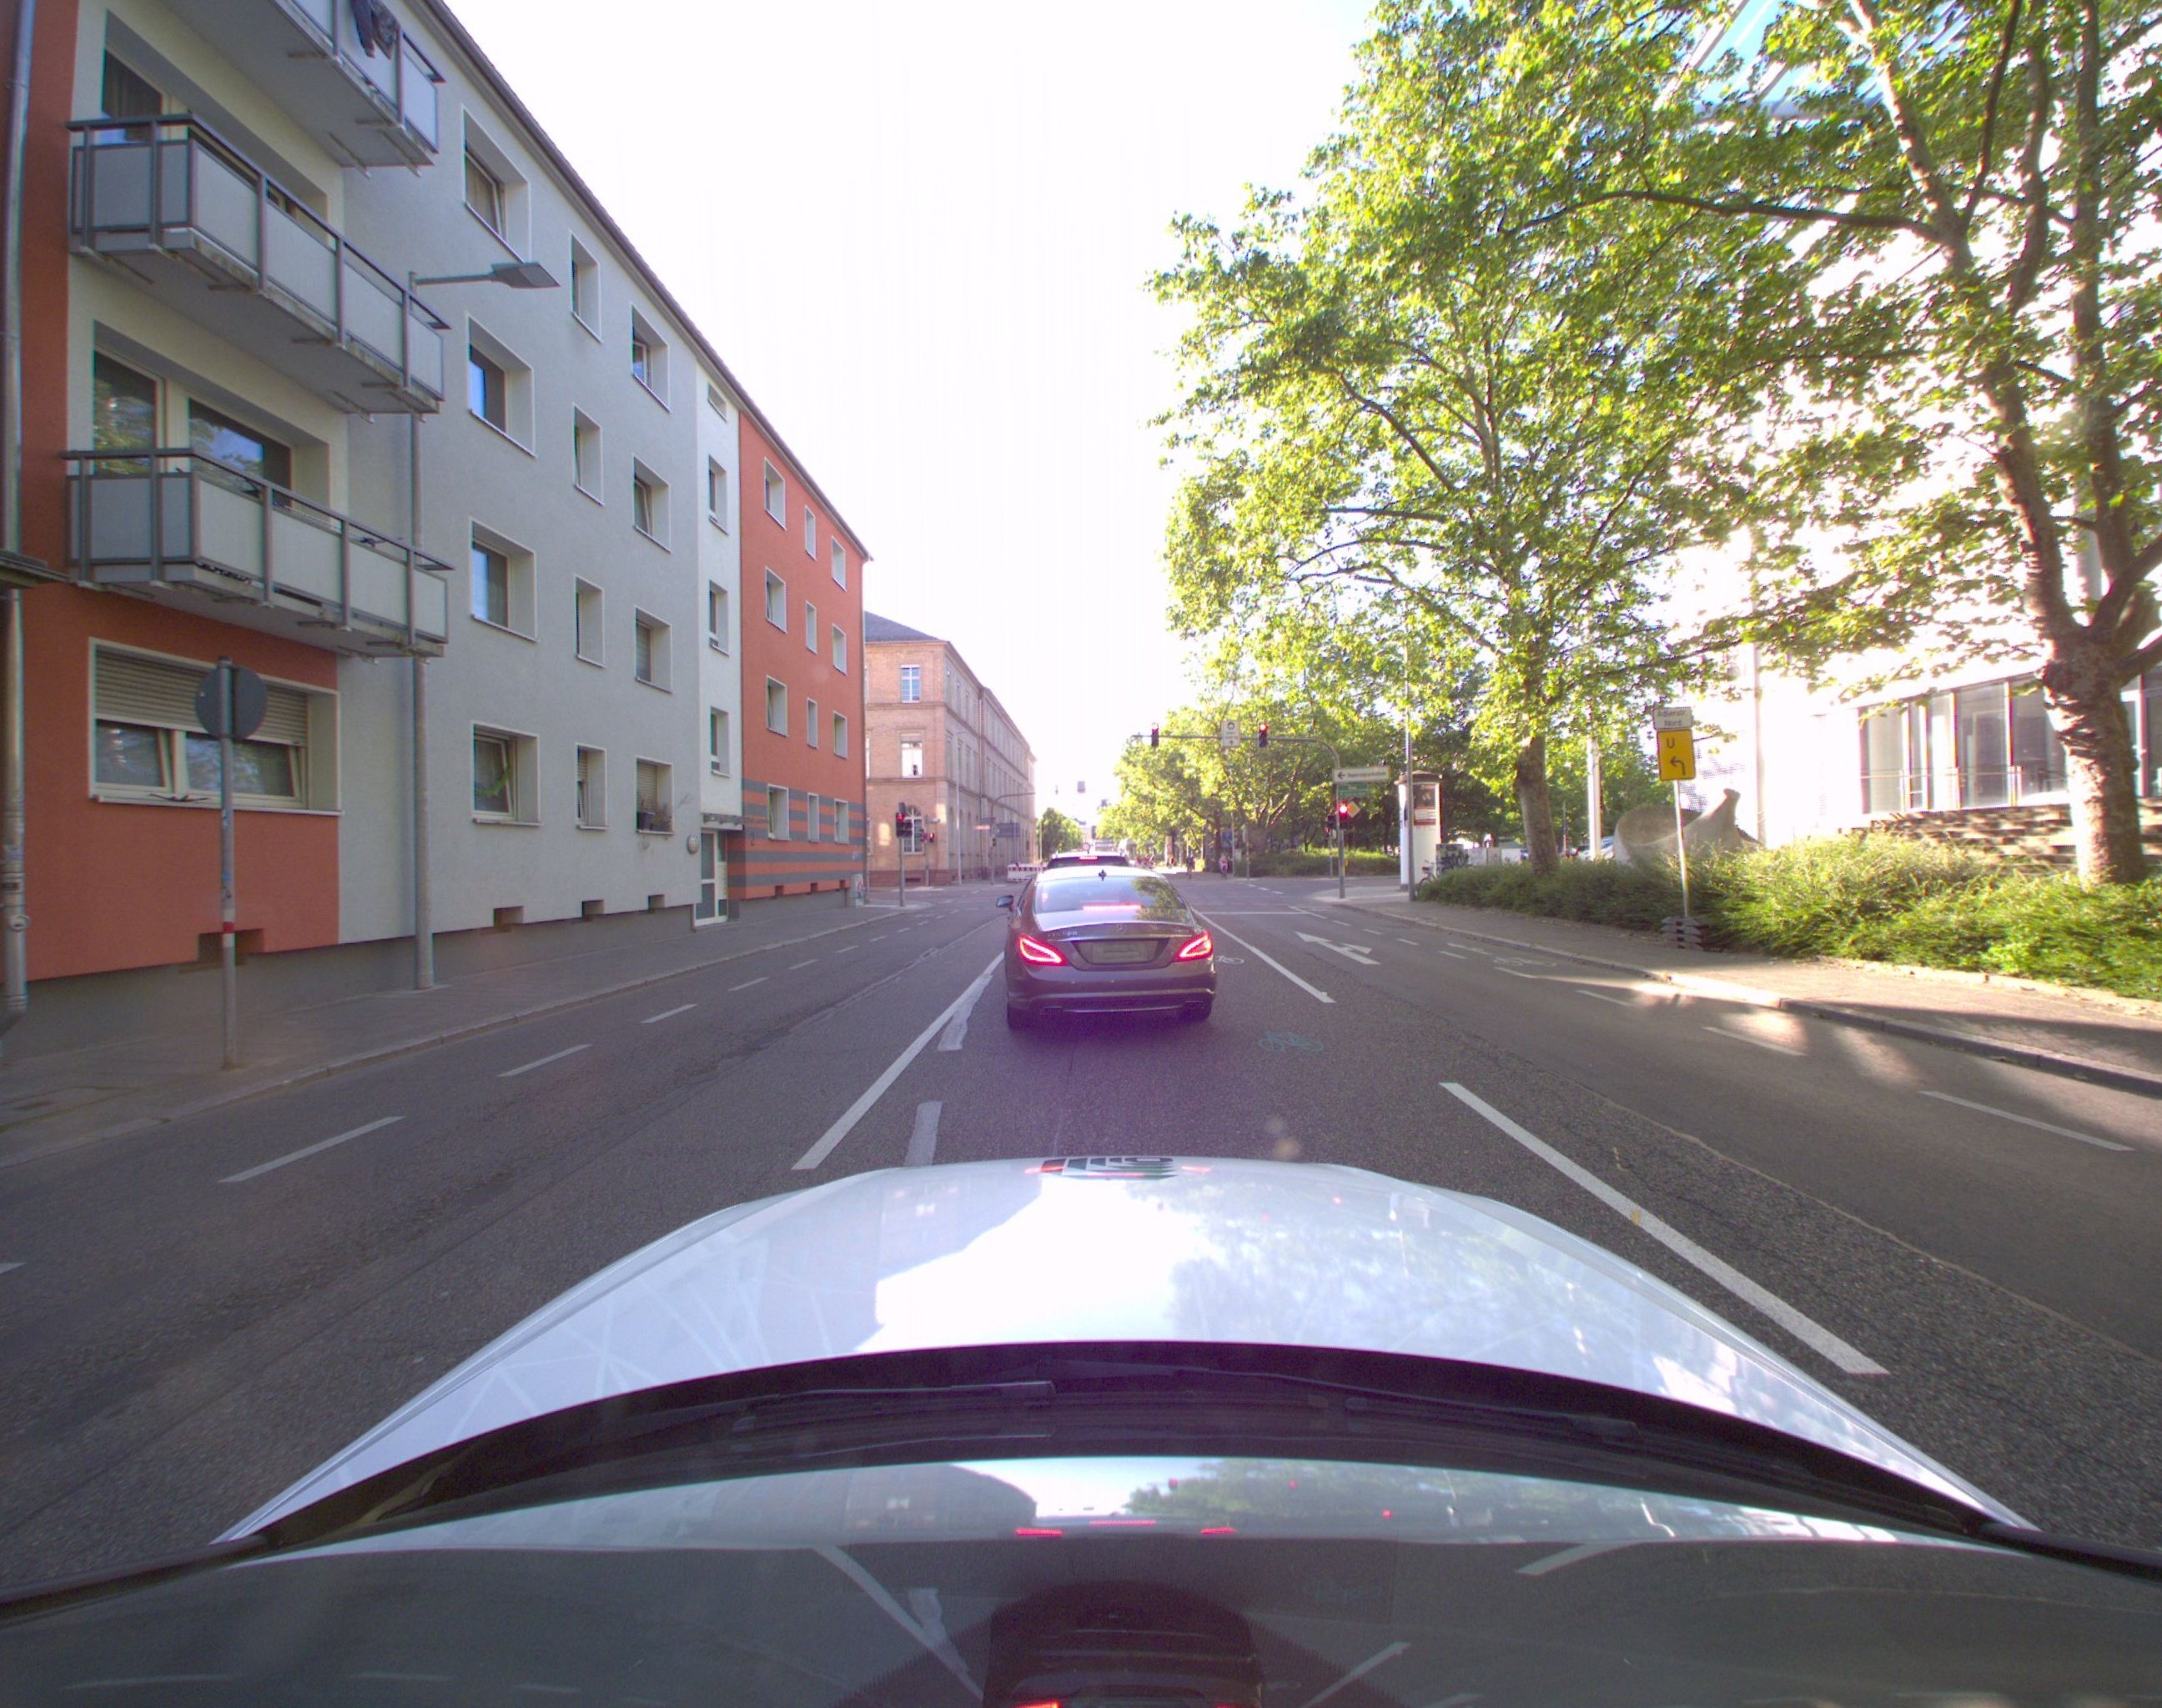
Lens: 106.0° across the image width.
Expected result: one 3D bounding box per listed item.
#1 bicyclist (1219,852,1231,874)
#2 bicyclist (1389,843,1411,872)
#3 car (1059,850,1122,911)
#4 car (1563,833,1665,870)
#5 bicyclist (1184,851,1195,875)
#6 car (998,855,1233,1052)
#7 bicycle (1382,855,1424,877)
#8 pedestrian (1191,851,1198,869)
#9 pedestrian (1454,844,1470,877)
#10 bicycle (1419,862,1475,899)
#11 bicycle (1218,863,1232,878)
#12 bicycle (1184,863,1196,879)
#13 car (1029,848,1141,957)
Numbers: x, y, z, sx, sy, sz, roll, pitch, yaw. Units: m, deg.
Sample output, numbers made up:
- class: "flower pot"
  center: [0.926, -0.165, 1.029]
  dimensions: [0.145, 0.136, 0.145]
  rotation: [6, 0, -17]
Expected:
- class: "bicyclist"
  center: [9.332, 0.603, 52.882]
  dimensions: [0.598, 1.402, 0.931]
  rotation: [1, 0, 1]
- class: "bicyclist"
  center: [17.794, 0.202, 45.426]
  dimensions: [0.813, 1.553, 0.883]
  rotation: [-1, 0, -8]
- class: "car"
  center: [0.274, 0.733, 24.101]
  dimensions: [1.676, 1.625, 3.841]
  rotation: [-1, 0, 0]
- class: "car"
  center: [27.653, -0.134, 42.358]
  dimensions: [3.976, 1.784, 2.004]
  rotation: [-1, 0, 6]
- class: "bicyclist"
  center: [7.065, 0.581, 53.024]
  dimensions: [0.608, 1.516, 0.890]
  rotation: [0, 0, 1]
- class: "car"
  center: [0.095, 0.777, 8.511]
  dimensions: [1.818, 1.476, 4.345]
  rotation: [-1, 0, -5]
- class: "bicycle"
  center: [17.951, 0.646, 45.452]
  dimensions: [1.996, 1.185, 0.883]
  rotation: [-1, 0, -8]
- class: "pedestrian"
  center: [10.984, 0.596, 78.667]
  dimensions: [0.557, 1.678, 0.565]
  rotation: [-1, 0, 1]
- class: "pedestrian"
  center: [20.880, 0.365, 44.624]
  dimensions: [0.617, 1.784, 0.631]
  rotation: [-1, 0, 4]
- class: "bicycle"
  center: [10.817, 0.777, 24.108]
  dimensions: [1.411, 1.037, 0.538]
  rotation: [-1, 0, -2]
- class: "bicycle"
  center: [9.327, 1.065, 52.859]
  dimensions: [0.598, 0.985, 1.882]
  rotation: [1, 0, 2]
- class: "bicycle"
  center: [7.062, 1.082, 52.904]
  dimensions: [0.608, 1.026, 1.732]
  rotation: [0, 0, 2]
- class: "car"
  center: [0.081, 0.746, 14.264]
  dimensions: [1.676, 1.625, 3.841]
  rotation: [-1, 0, 0]
